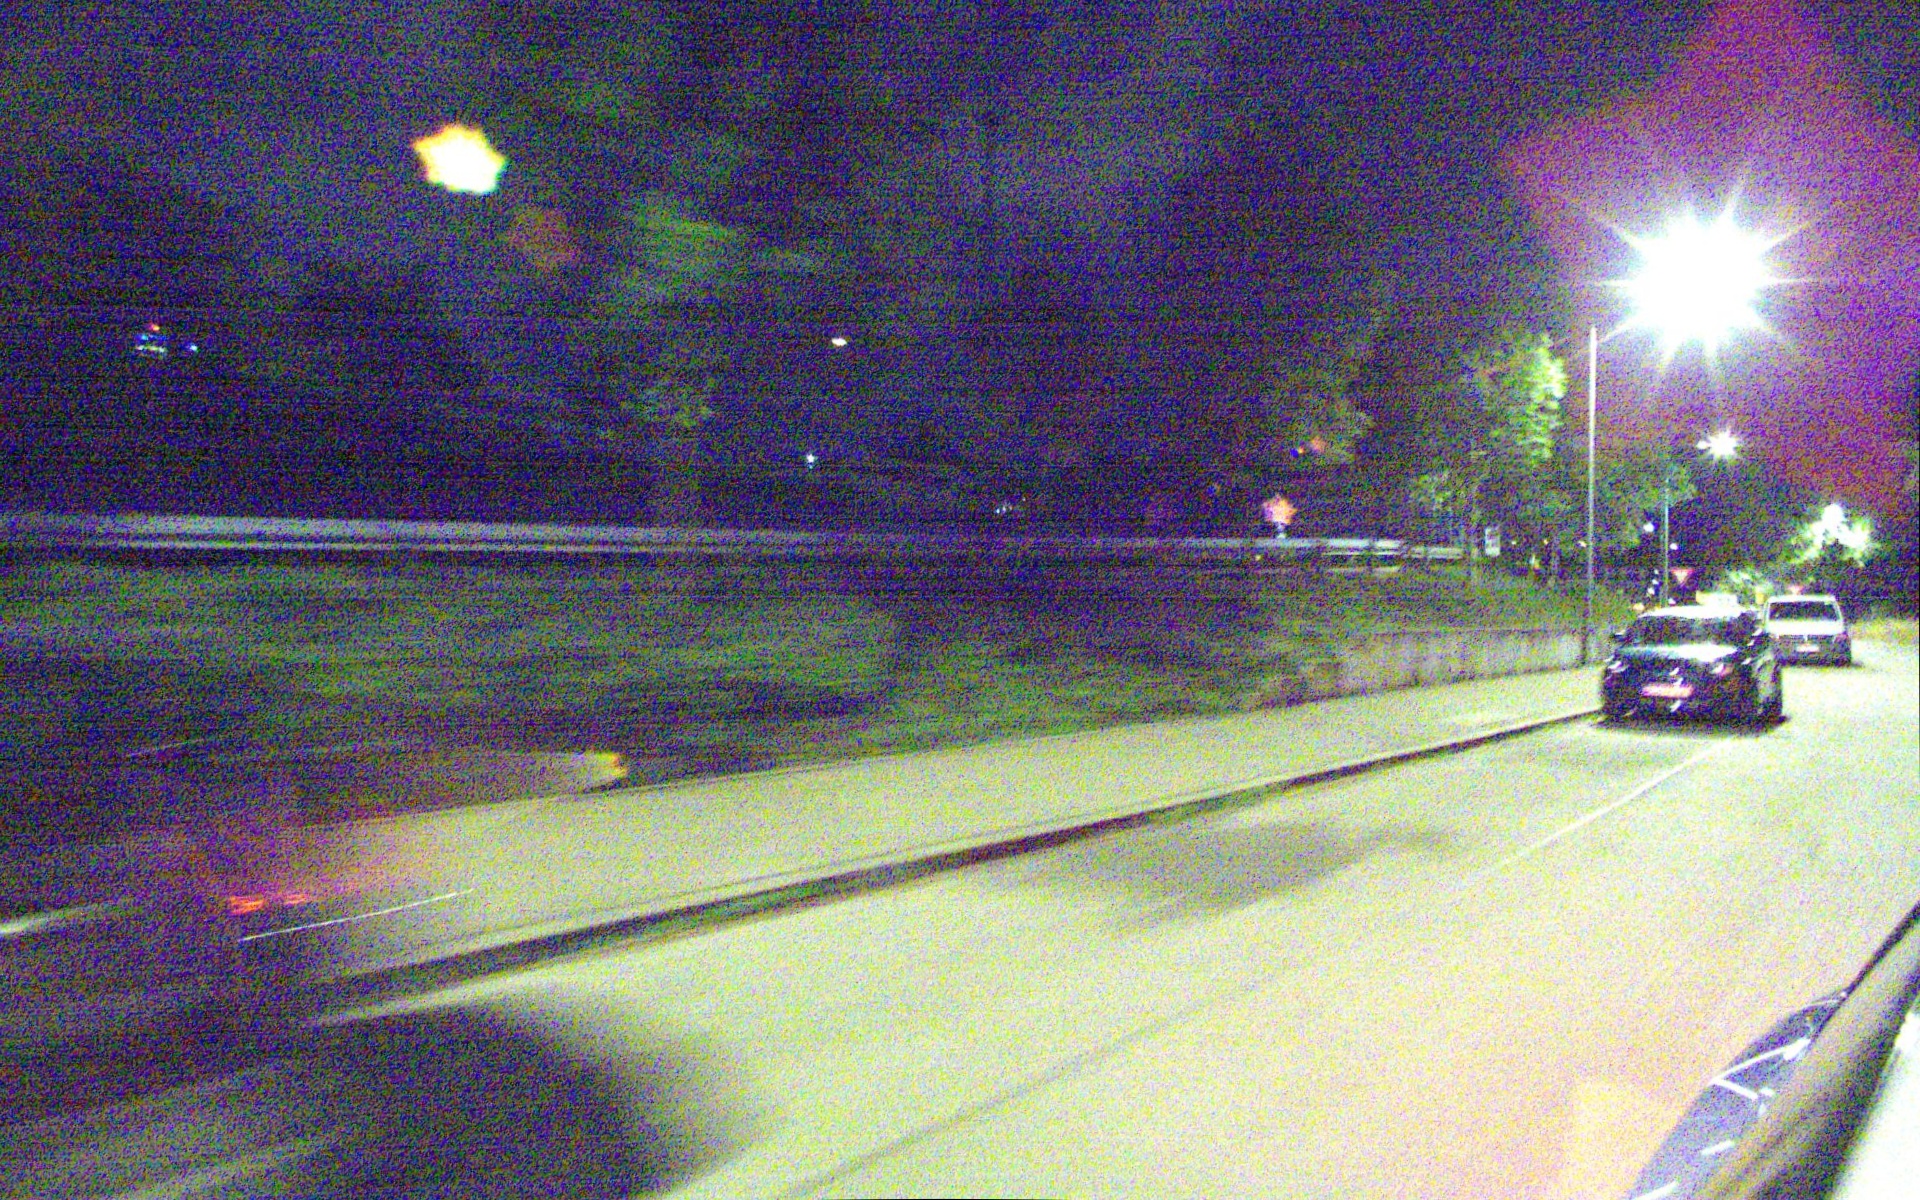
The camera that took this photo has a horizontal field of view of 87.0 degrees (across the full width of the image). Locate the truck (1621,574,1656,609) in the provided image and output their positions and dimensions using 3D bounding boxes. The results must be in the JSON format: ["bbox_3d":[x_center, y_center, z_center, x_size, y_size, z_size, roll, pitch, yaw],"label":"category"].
[{"bbox_3d":[76.424,-0.891,114.122,3.036,3.668,9.486,2,0,33],"label":"truck"}]

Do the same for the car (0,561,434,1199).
[{"bbox_3d":[-3.263,0.673,1.672,3.933,1.527,1.712,1,-1,-44],"label":"car"}]

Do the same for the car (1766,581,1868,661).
[{"bbox_3d":[24.221,0.585,28.774,1.989,2.039,5.279,-1,-1,38],"label":"car"}]

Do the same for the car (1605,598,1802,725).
[{"bbox_3d":[10.425,0.770,14.091,3.762,1.531,1.609,1,-2,-44],"label":"car"}]

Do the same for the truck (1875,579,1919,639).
[{"bbox_3d":[52.232,0.515,53.944,2.726,3.104,9.248,1,0,27],"label":"truck"}]

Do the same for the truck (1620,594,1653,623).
[{"bbox_3d":[66.206,0.826,99.003,2.393,2.602,6.322,2,1,36],"label":"truck"}]

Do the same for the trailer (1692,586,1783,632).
[{"bbox_3d":[37.013,0.400,48.348,1.473,2.039,4.965,2,0,13],"label":"trailer"}]
